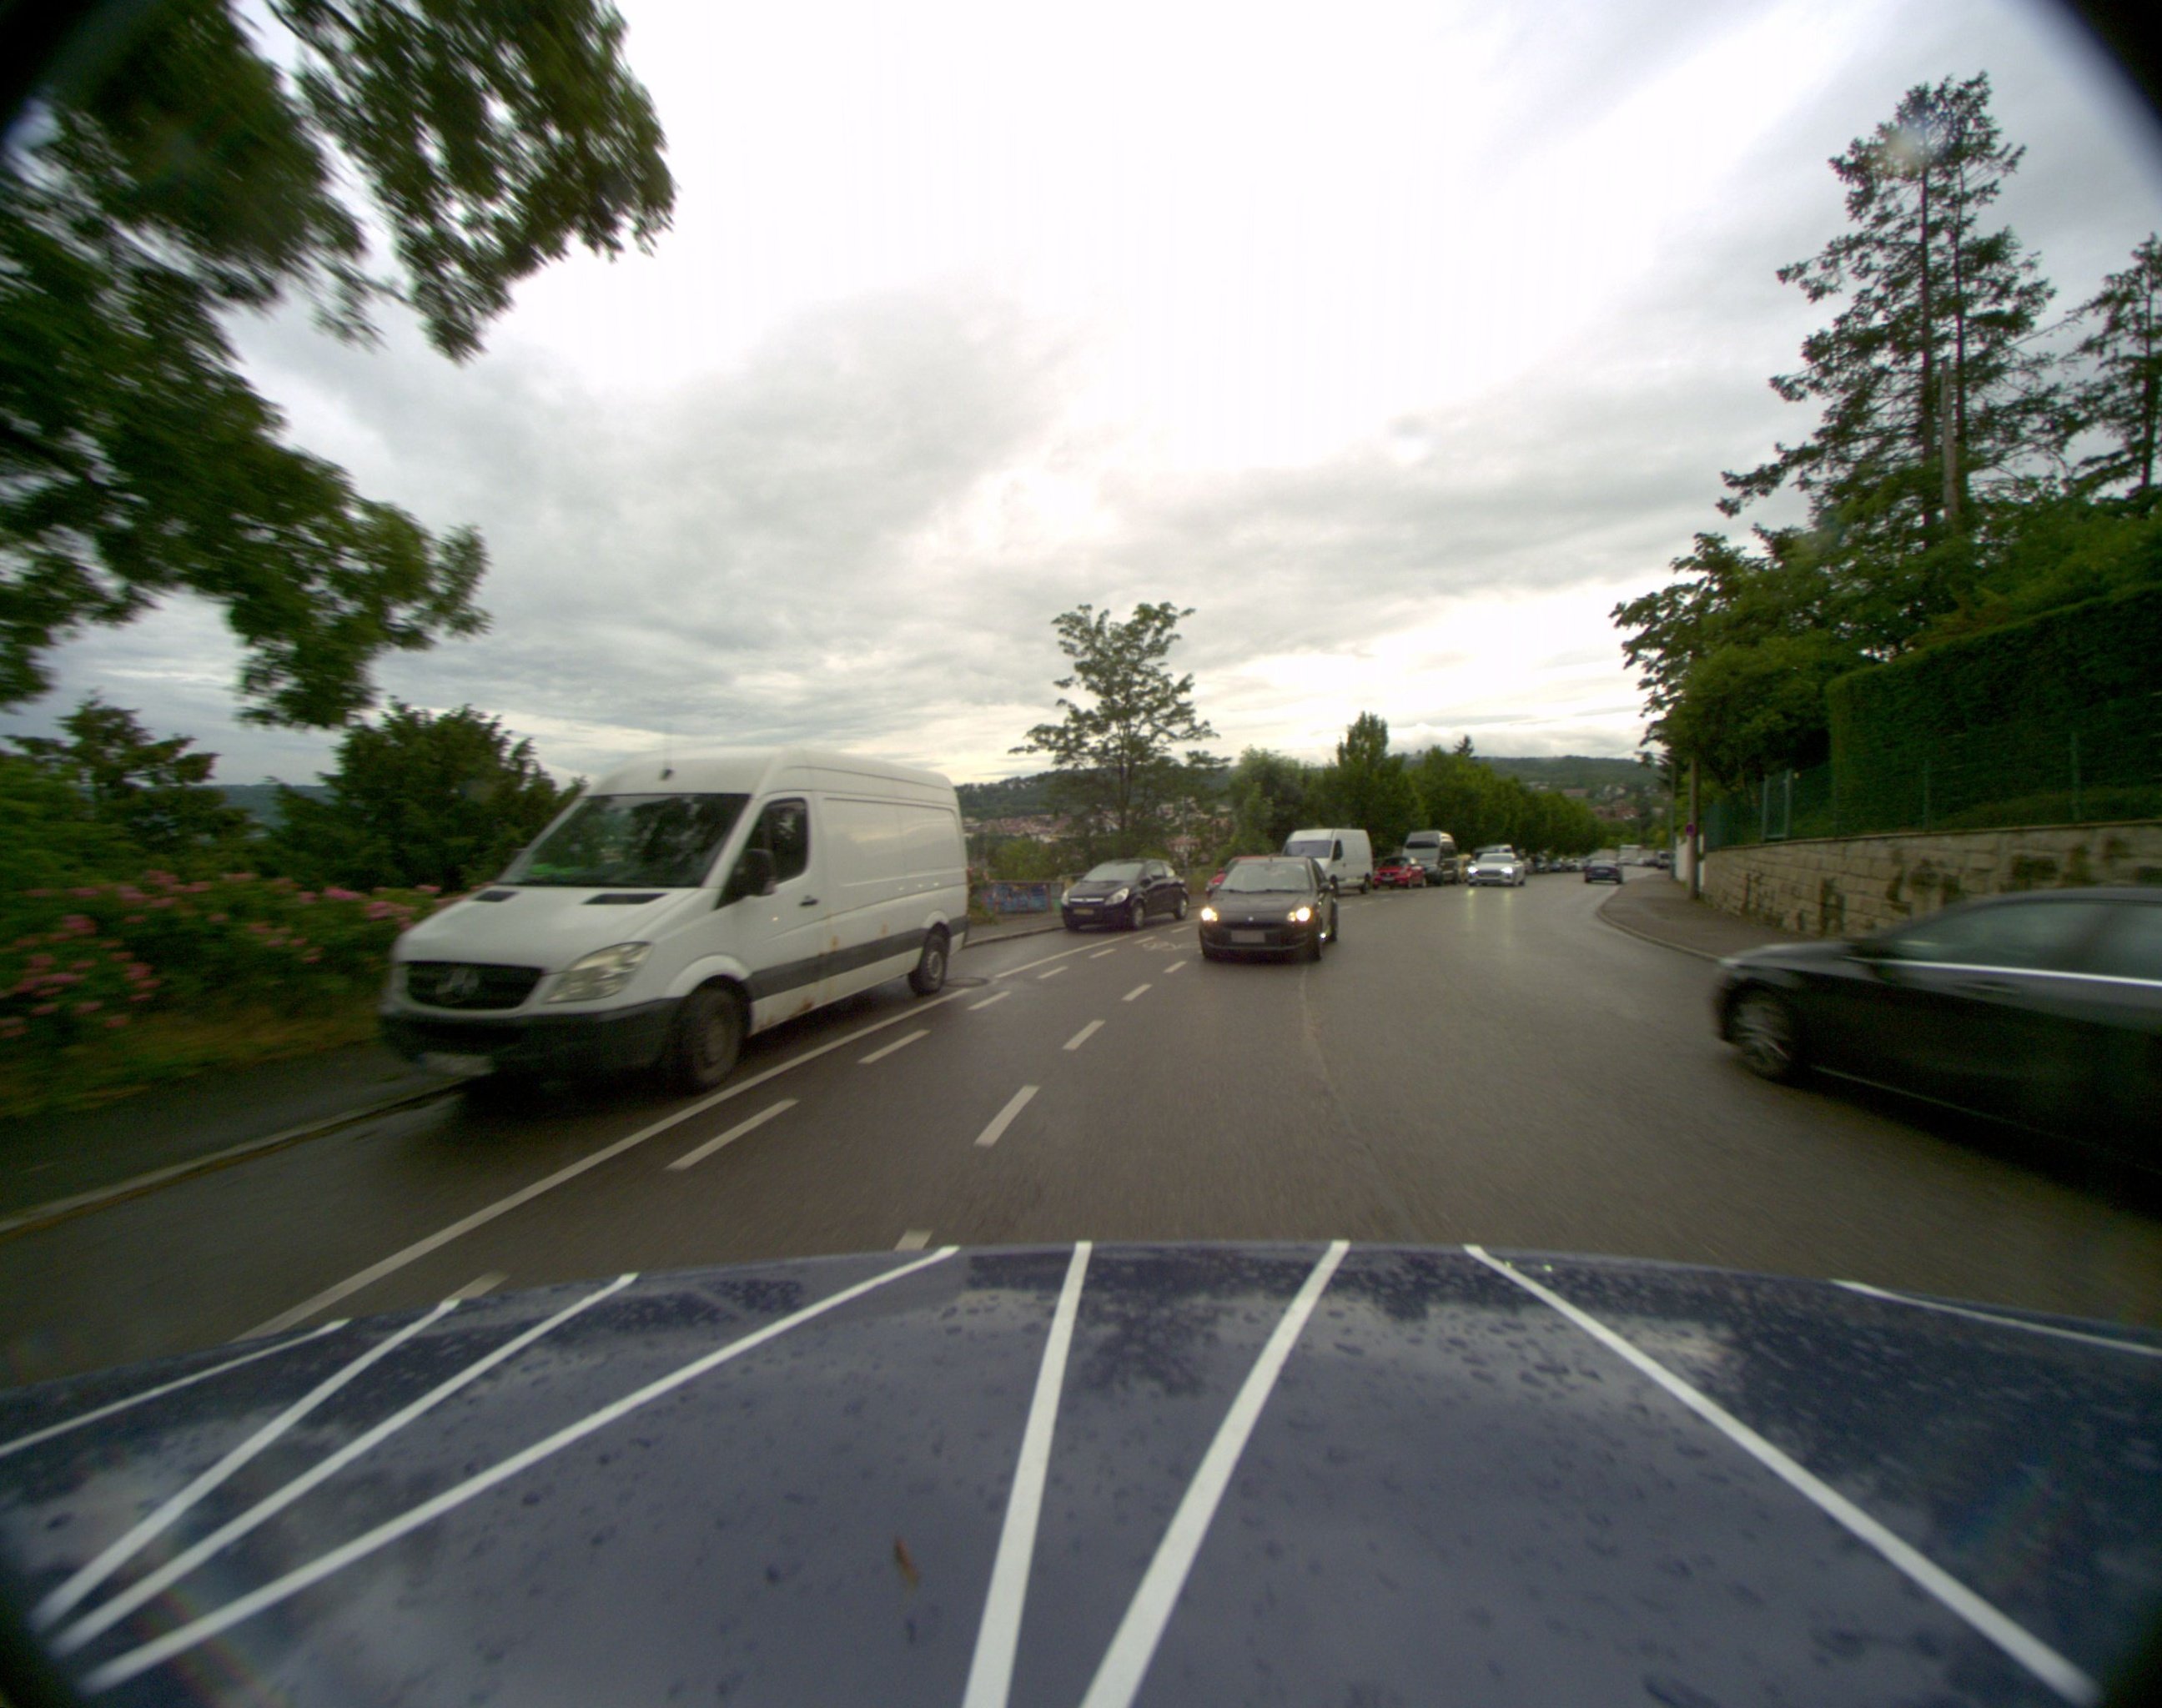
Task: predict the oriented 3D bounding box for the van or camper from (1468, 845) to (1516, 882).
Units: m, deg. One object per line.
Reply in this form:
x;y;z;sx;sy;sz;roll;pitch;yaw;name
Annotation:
30.068;0.726;55.444;2.165;2.539;5.628;-2;-2;37;van or camper

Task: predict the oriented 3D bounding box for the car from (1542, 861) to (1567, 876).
49.957;1.515;80.075;1.721;1.494;4.210;-2;-2;39;car

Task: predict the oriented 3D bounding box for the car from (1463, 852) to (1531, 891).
20.226;0.794;36.840;2.186;1.698;4.892;-1;1;37;car

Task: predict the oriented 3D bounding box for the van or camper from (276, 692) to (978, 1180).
-3.034;0.436;7.097;2.069;2.565;5.894;1;0;14;van or camper

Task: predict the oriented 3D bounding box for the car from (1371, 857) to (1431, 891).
15.038;0.908;35.637;1.683;1.531;3.841;-1;-1;37;car

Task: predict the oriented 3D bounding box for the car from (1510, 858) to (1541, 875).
39.830;1.084;68.072;1.721;1.426;4.335;-2;-2;39;car

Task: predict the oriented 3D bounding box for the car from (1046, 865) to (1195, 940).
1.006;0.999;16.900;1.696;1.435;3.955;-3;-2;29;car

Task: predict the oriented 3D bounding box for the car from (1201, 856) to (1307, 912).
5.317;0.850;22.938;1.621;1.531;4.224;-1;-1;35;car

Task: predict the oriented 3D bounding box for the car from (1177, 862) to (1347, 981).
3.059;0.900;12.091;1.780;1.477;4.413;-1;0;25;car

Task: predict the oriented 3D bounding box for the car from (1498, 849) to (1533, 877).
35.373;0.748;61.814;1.721;2.125;4.413;-2;-2;39;car

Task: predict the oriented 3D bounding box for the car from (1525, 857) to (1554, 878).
43.346;1.259;71.734;1.721;1.843;4.413;-2;-2;39;car

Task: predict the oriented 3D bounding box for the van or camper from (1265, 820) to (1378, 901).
8.872;0.251;27.615;2.075;2.645;5.608;-1;-1;38;van or camper

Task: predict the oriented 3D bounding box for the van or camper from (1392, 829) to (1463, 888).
18.480;0.267;40.312;2.125;2.892;5.740;-1;-1;38;van or camper

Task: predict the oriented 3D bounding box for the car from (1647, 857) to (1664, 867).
93.295;1.261;123.476;1.847;1.488;3.775;-1;0;32;car

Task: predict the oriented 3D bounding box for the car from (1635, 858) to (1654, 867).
96.446;1.460;130.029;1.847;1.489;3.774;1;1;25;car

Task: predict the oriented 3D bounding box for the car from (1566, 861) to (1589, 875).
57.382;1.631;87.768;1.721;1.618;4.413;-2;-2;39;car

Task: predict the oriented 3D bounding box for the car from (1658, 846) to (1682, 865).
78.985;0.270;101.840;2.104;2.468;4.574;2;1;42;car

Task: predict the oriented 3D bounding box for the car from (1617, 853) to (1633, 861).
101.113;0.601;141.243;1.847;1.488;3.774;-1;0;25;car

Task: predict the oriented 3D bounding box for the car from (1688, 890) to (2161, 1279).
5.252;0.985;3.552;1.791;1.426;4.116;1;0;5;car

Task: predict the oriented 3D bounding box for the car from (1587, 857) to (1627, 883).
31.935;0.946;46.081;1.807;1.422;4.263;2;1;37;car

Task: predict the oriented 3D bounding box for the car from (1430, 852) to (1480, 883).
22.453;0.826;45.591;1.721;1.738;4.413;-2;-2;39;car
